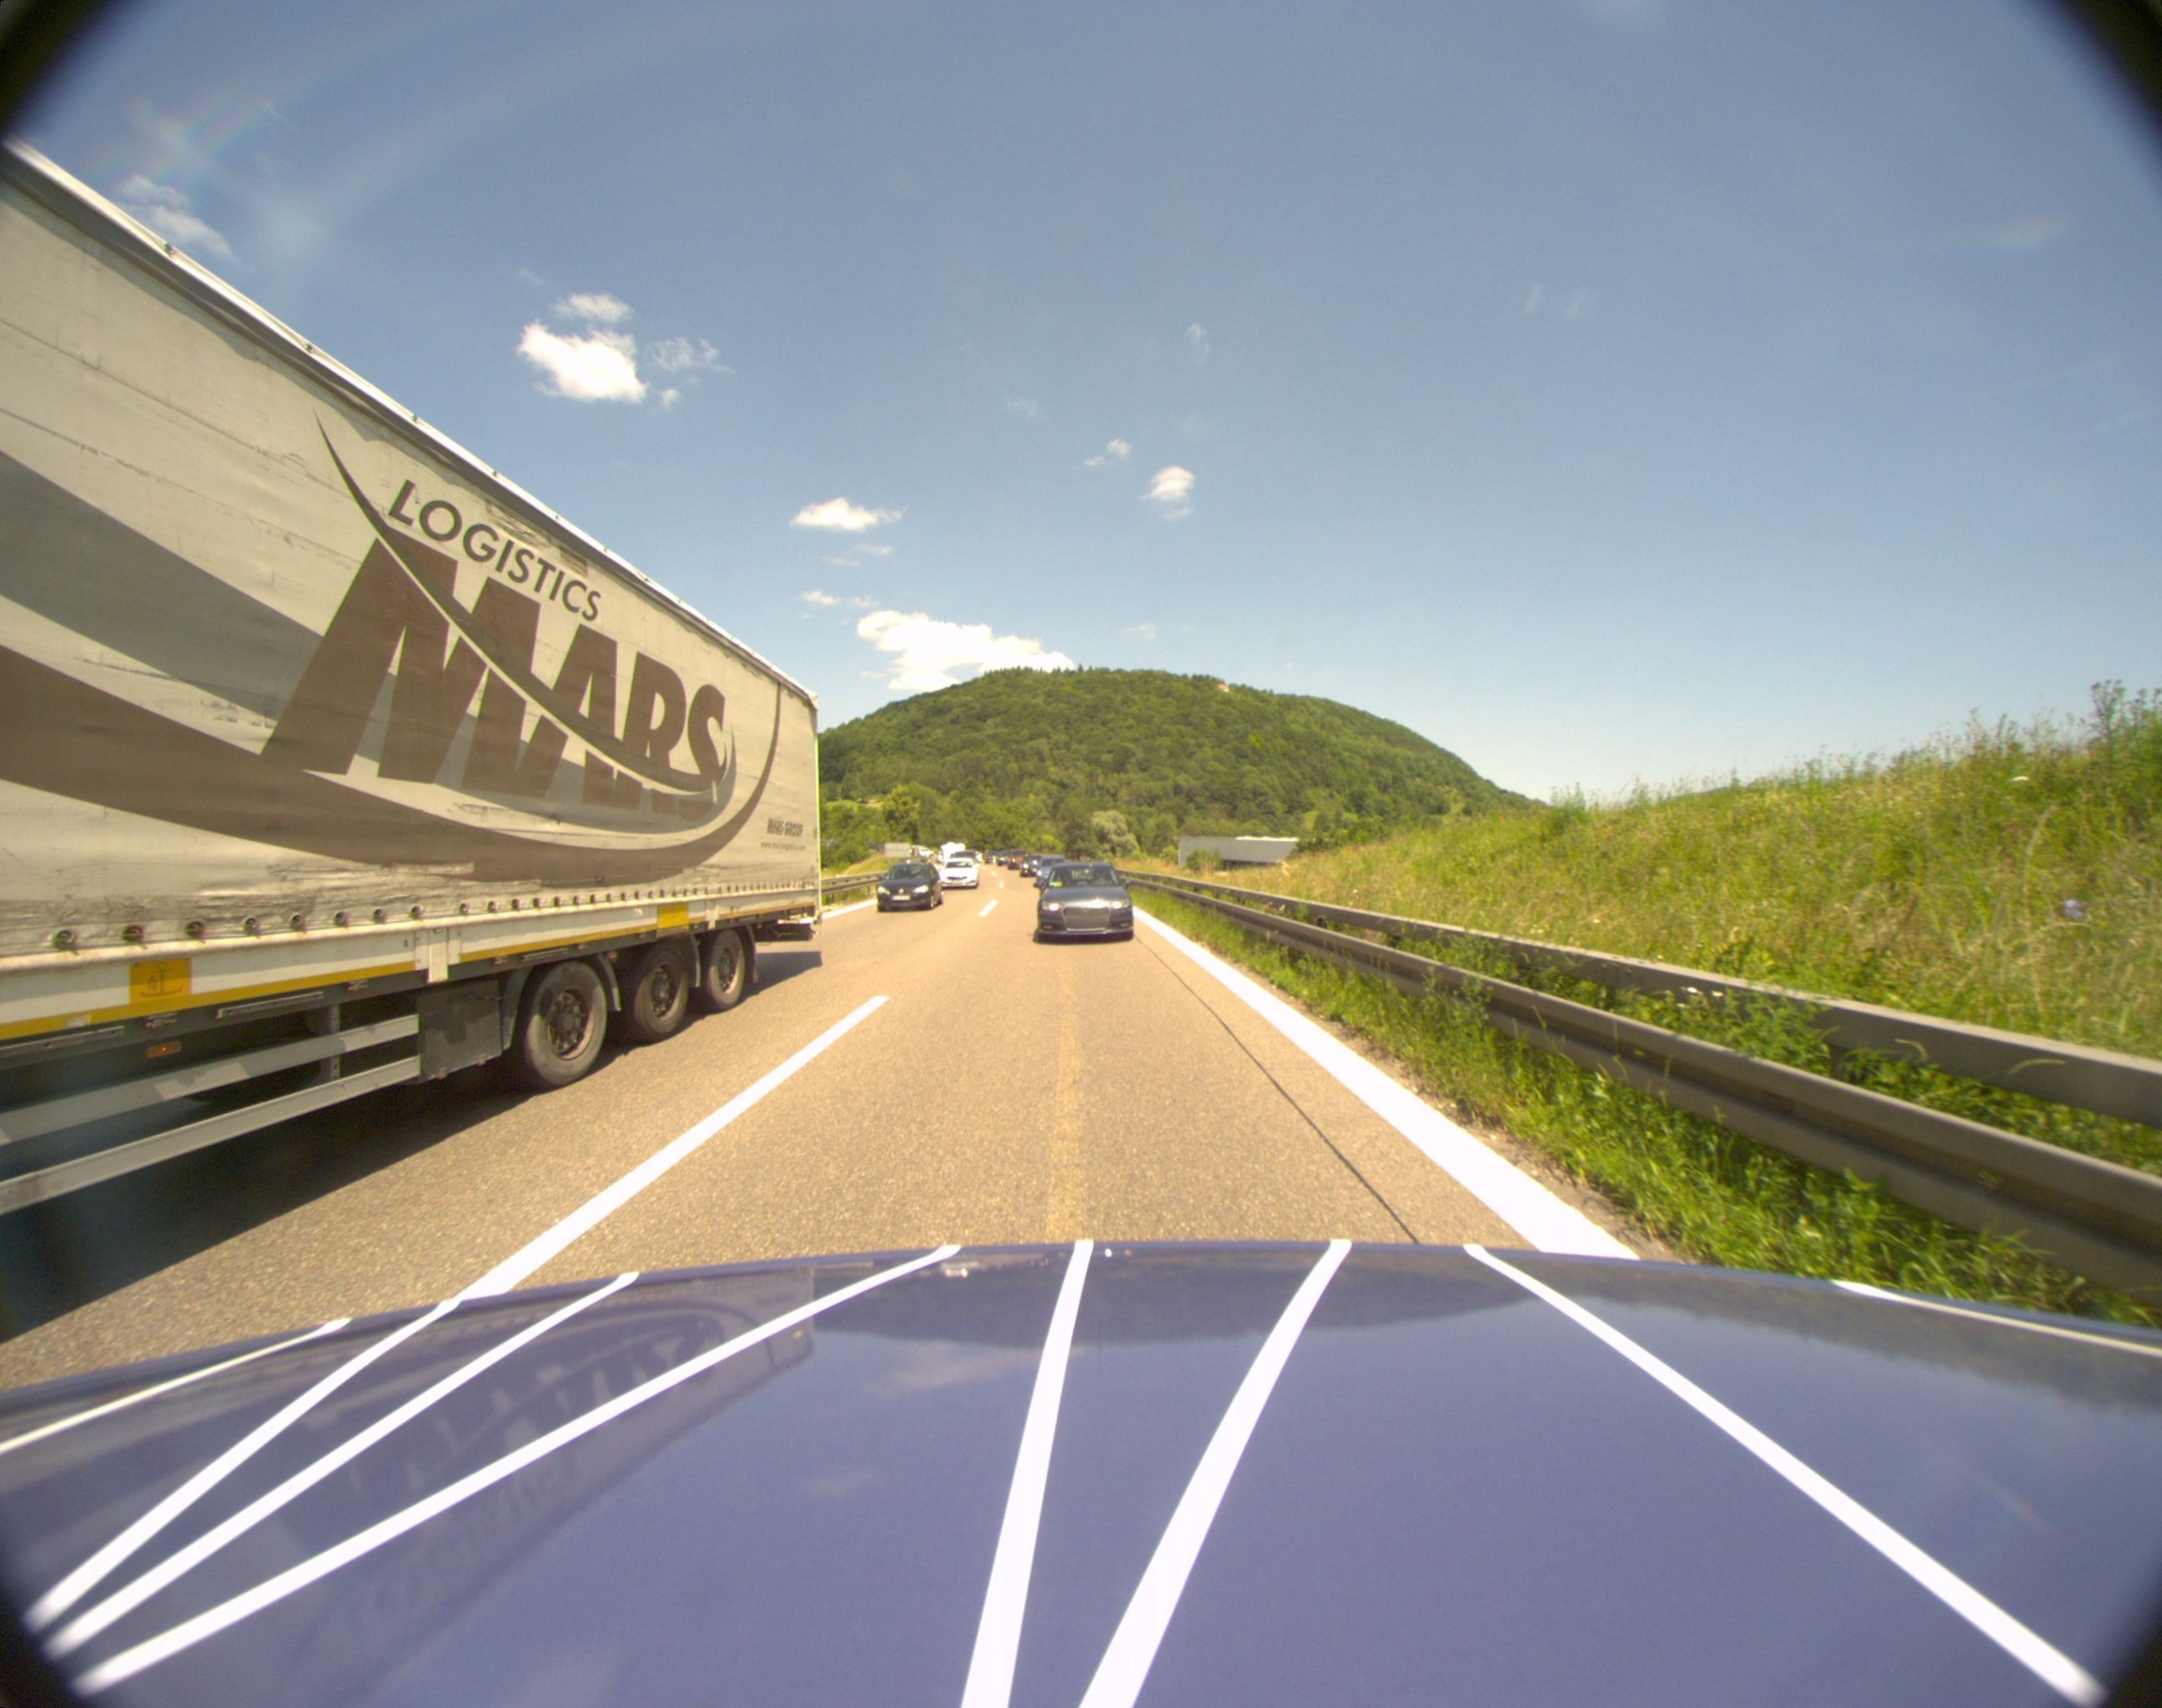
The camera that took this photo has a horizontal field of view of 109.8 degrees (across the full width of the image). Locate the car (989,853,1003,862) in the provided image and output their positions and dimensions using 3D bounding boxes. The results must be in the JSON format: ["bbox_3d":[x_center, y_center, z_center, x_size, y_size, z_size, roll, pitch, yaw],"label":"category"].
[{"bbox_3d":[-10.503,0.405,93.592,1.492,1.102,3.211,-3,1,-11],"label":"car"}]

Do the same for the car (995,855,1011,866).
[{"bbox_3d":[-8.258,0.658,80.252,1.492,1.102,3.211,-2,1,-8],"label":"car"}]

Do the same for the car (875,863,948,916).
[{"bbox_3d":[-5.287,1.056,24.105,1.696,1.414,3.836,-2,0,-5],"label":"car"}]

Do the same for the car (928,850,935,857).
[{"bbox_3d":[-30.239,-0.111,153.954,1.246,1.470,2.957,-4,1,-12],"label":"car"}]

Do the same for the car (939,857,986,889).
[{"bbox_3d":[-5.787,0.883,37.423,1.908,1.422,3.720,-1,0,-4],"label":"car"}]

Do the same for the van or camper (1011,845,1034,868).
[{"bbox_3d":[-5.250,0.218,67.558,1.818,1.855,3.611,-2,0,-7],"label":"van or camper"}]

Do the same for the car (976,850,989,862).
[{"bbox_3d":[-14.246,0.357,109.845,1.532,1.627,3.415,-4,1,-13],"label":"car"}]

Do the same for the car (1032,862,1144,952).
[{"bbox_3d":[-0.008,0.902,14.635,1.756,1.382,4.053,-2,0,-5],"label":"car"}]

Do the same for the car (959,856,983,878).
[{"bbox_3d":[-7.557,0.865,51.984,1.490,1.375,3.735,-2,1,-9],"label":"car"}]

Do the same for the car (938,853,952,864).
[{"bbox_3d":[-20.002,0.673,111.672,1.700,1.523,3.676,-4,1,-12],"label":"car"}]

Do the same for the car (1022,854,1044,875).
[{"bbox_3d":[-3.242,0.670,50.873,1.287,1.305,3.451,-2,0,-7],"label":"car"}]

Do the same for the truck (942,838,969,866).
[{"bbox_3d":[-15.222,-0.181,91.615,2.605,3.089,6.850,-4,1,-13],"label":"truck"}]

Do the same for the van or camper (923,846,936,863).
[{"bbox_3d":[-27.351,0.020,136.983,1.911,3.010,4.868,-1,0,-14],"label":"van or camper"}]

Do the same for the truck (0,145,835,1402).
[{"bbox_3d":[-4.894,-0.275,4.398,2.733,4.044,13.737,-2,1,-2],"label":"truck"}]

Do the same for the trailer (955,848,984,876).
[{"bbox_3d":[-8.202,0.562,55.775,2.000,1.958,3.997,-1,0,-9],"label":"trailer"}]

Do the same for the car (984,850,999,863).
[{"bbox_3d":[-12.126,0.360,103.118,1.532,1.627,3.415,-4,1,-13],"label":"car"}]

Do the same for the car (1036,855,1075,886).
[{"bbox_3d":[-1.285,0.769,37.509,1.696,1.422,3.461,-2,0,-5],"label":"car"}]
